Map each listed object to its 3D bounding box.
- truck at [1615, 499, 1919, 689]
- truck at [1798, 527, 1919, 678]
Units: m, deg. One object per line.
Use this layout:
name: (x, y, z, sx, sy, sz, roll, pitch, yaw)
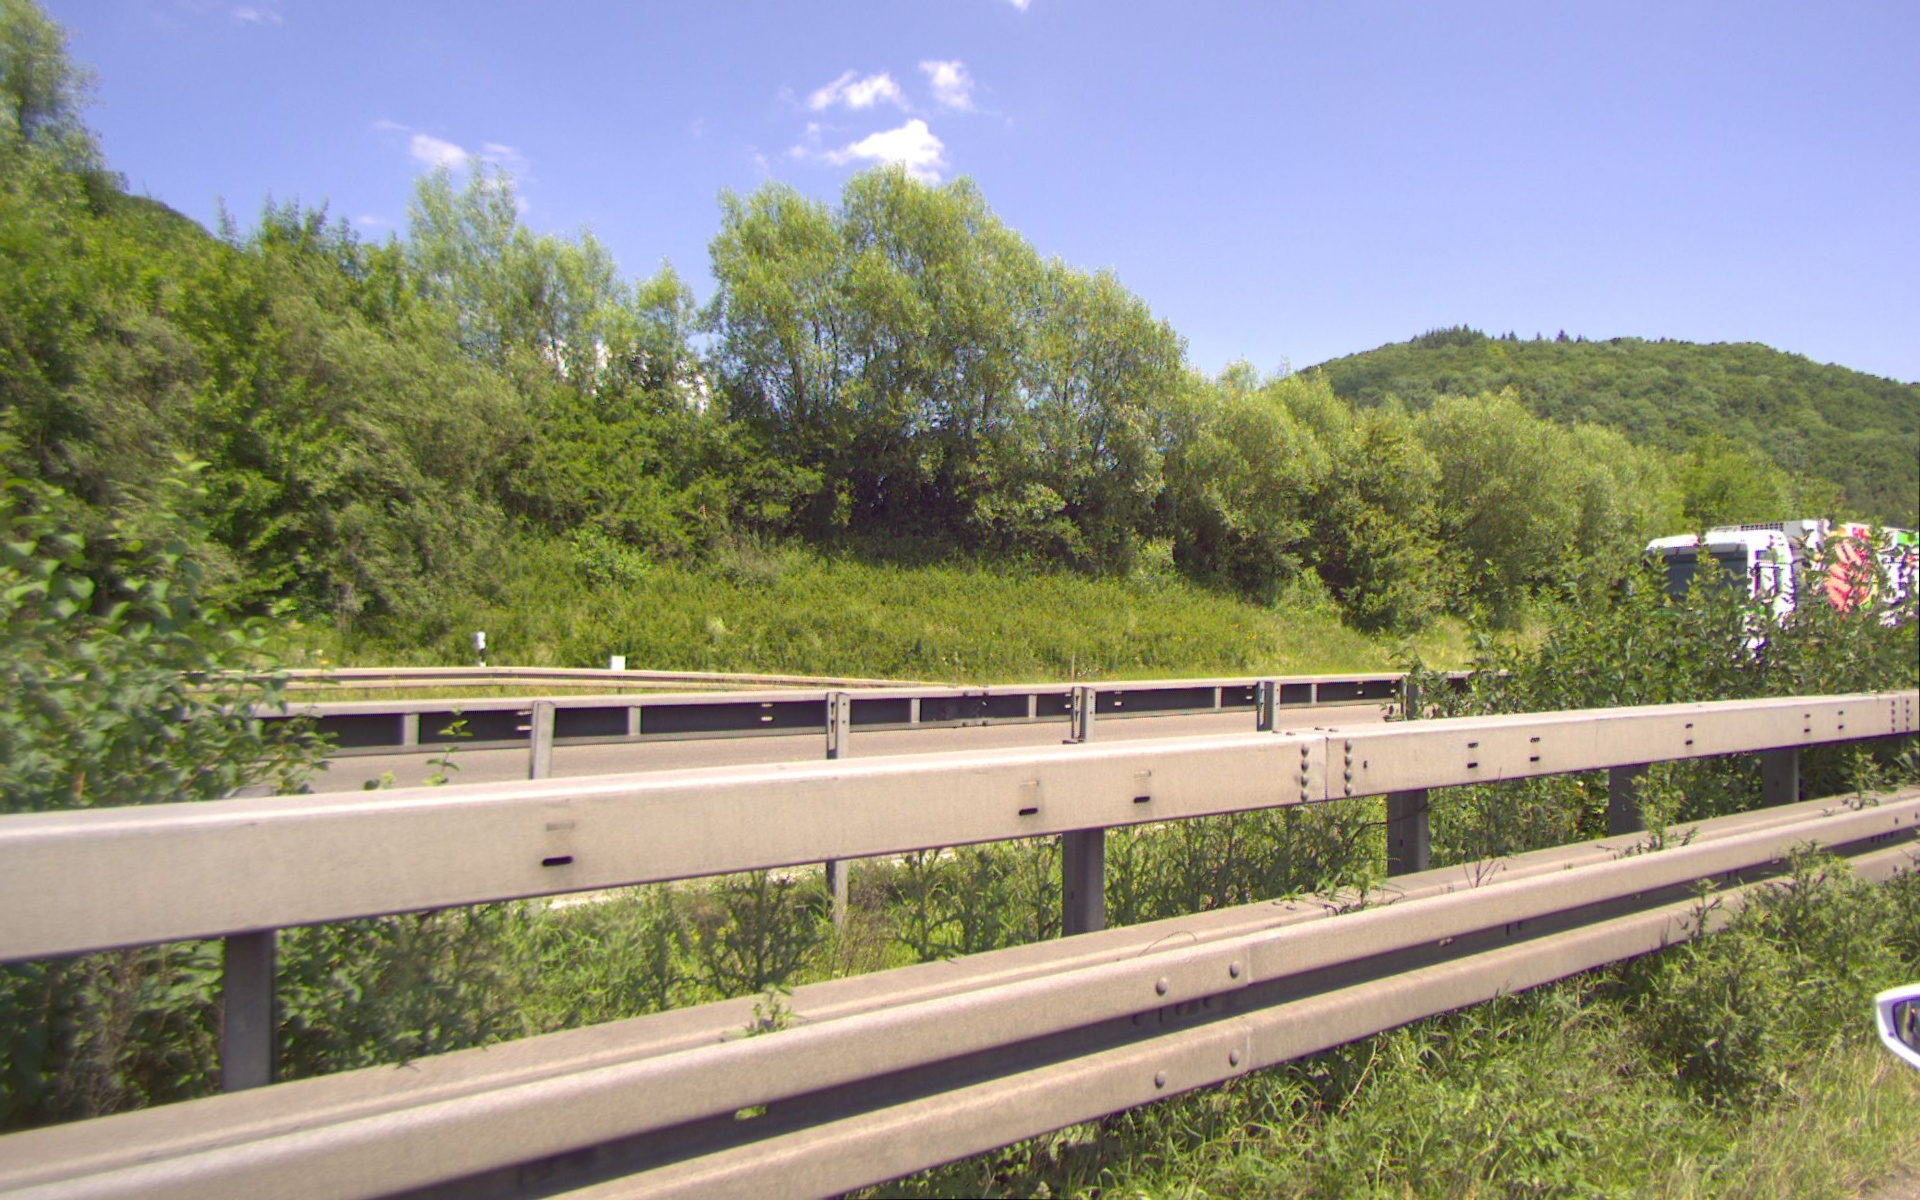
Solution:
truck: (20.694, -0.038, 25.340, 10.053, 4.060, 2.855, 1, 0, -31)
truck: (28.879, 0.138, 30.206, 8.927, 4.033, 2.855, 1, 0, -31)
